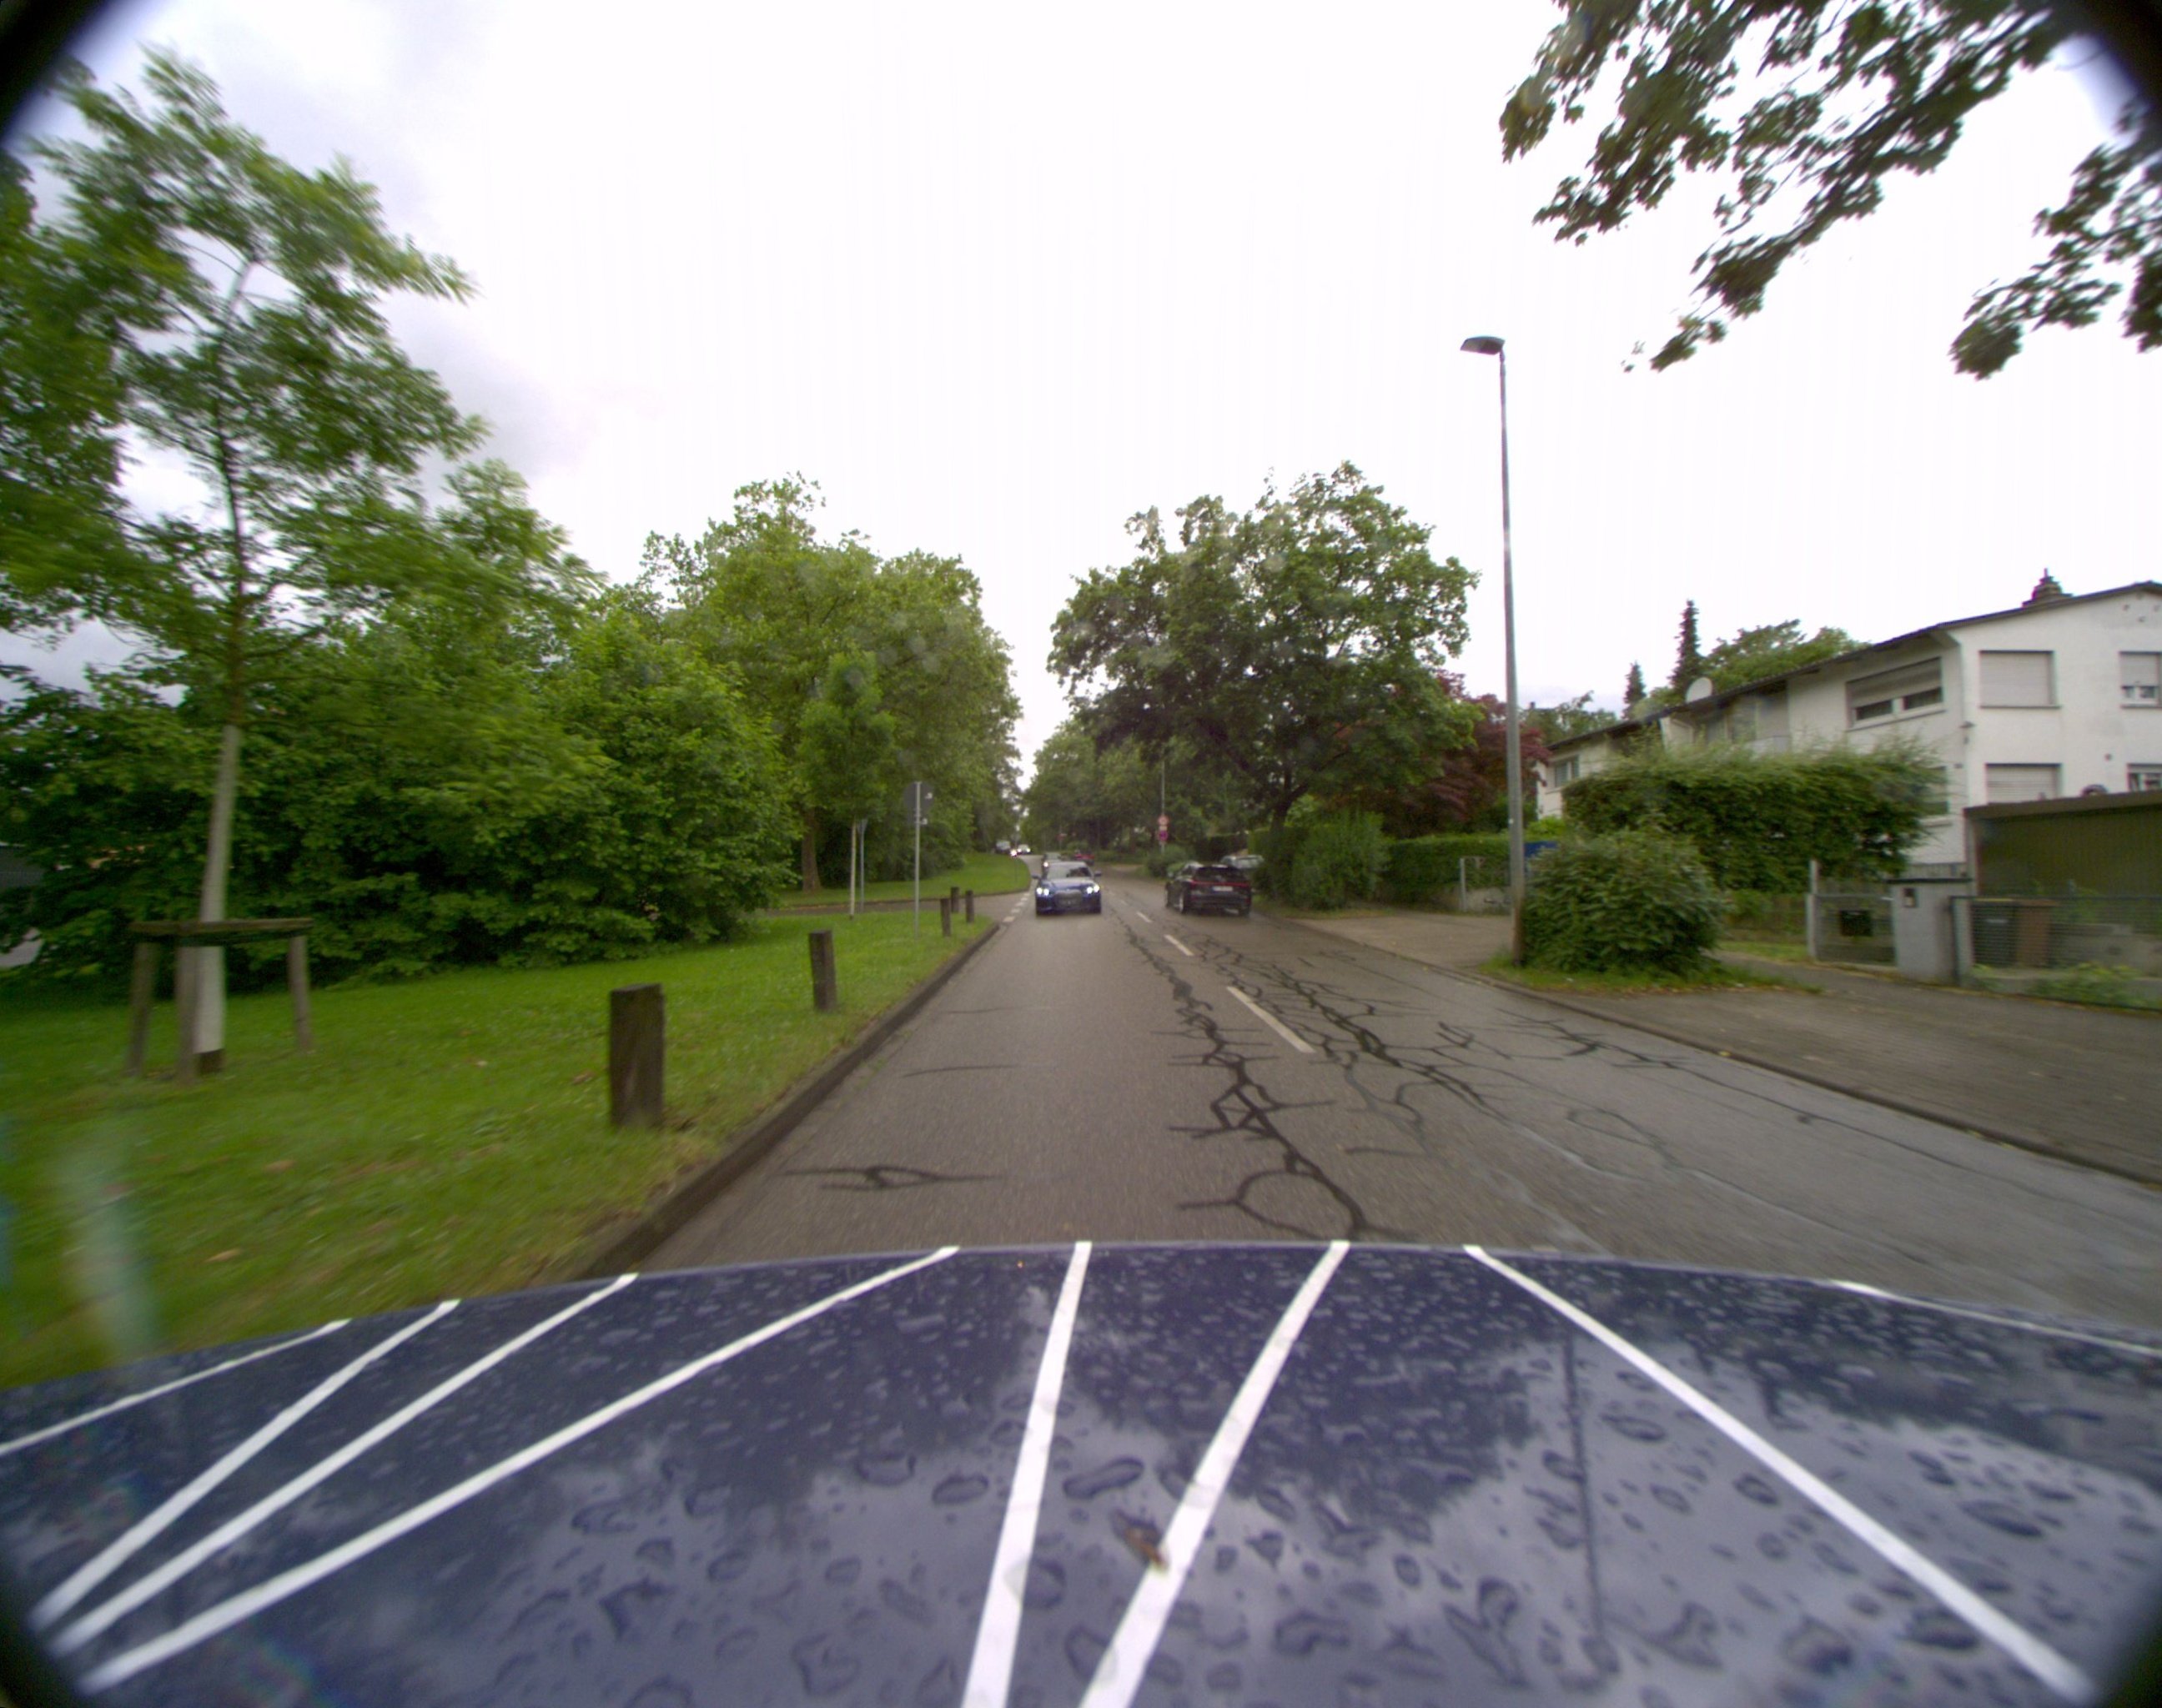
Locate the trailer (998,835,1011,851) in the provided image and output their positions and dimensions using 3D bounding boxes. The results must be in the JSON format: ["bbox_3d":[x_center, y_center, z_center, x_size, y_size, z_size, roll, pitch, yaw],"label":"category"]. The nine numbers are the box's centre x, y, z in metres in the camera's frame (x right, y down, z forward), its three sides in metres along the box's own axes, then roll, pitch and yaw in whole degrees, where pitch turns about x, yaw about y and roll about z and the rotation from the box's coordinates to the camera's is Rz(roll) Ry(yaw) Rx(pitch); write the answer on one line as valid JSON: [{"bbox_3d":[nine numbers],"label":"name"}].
[{"bbox_3d":[-10.413,-1.480,103.160,1.701,2.042,3.948,0,1,-6],"label":"trailer"}]

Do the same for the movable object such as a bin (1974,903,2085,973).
[{"bbox_3d":[12.188,1.068,9.779,0.634,0.820,0.634,-1,0,-1],"label":"movable object such as a bin"}]

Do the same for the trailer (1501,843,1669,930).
[{"bbox_3d":[12.125,0.781,18.366,3.127,1.788,1.425,4,-2,-6],"label":"trailer"}]

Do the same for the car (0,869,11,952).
[{"bbox_3d":[-25.507,1.259,14.832,2.165,1.867,5.069,1,0,-2],"label":"car"}]

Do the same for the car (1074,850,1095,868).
[{"bbox_3d":[0.264,0.420,68.218,1.694,1.388,4.489,0,1,-2],"label":"car"}]

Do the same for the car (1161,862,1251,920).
[{"bbox_3d":[3.452,0.987,21.796,1.759,1.355,4.324,1,1,-1],"label":"car"}]

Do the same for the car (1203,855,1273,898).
[{"bbox_3d":[6.347,0.866,31.225,1.668,1.533,4.282,-3,0,-3],"label":"car"}]

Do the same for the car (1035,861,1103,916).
[{"bbox_3d":[-0.261,0.955,22.793,1.796,1.458,4.510,-1,0,2],"label":"car"}]

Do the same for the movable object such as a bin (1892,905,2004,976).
[{"bbox_3d":[11.097,1.095,9.747,0.710,0.820,0.634,-1,0,-1],"label":"movable object such as a bin"}]

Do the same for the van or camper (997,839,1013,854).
[{"bbox_3d":[-9.884,-1.039,98.400,2.000,1.858,5.660,1,1,-6],"label":"van or camper"}]

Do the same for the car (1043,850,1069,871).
[{"bbox_3d":[-1.983,0.524,58.533,1.797,1.458,4.509,0,-2,-4],"label":"car"}]

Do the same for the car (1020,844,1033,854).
[{"bbox_3d":[-8.264,-0.763,115.683,1.678,1.542,3.833,1,-1,1],"label":"car"}]
